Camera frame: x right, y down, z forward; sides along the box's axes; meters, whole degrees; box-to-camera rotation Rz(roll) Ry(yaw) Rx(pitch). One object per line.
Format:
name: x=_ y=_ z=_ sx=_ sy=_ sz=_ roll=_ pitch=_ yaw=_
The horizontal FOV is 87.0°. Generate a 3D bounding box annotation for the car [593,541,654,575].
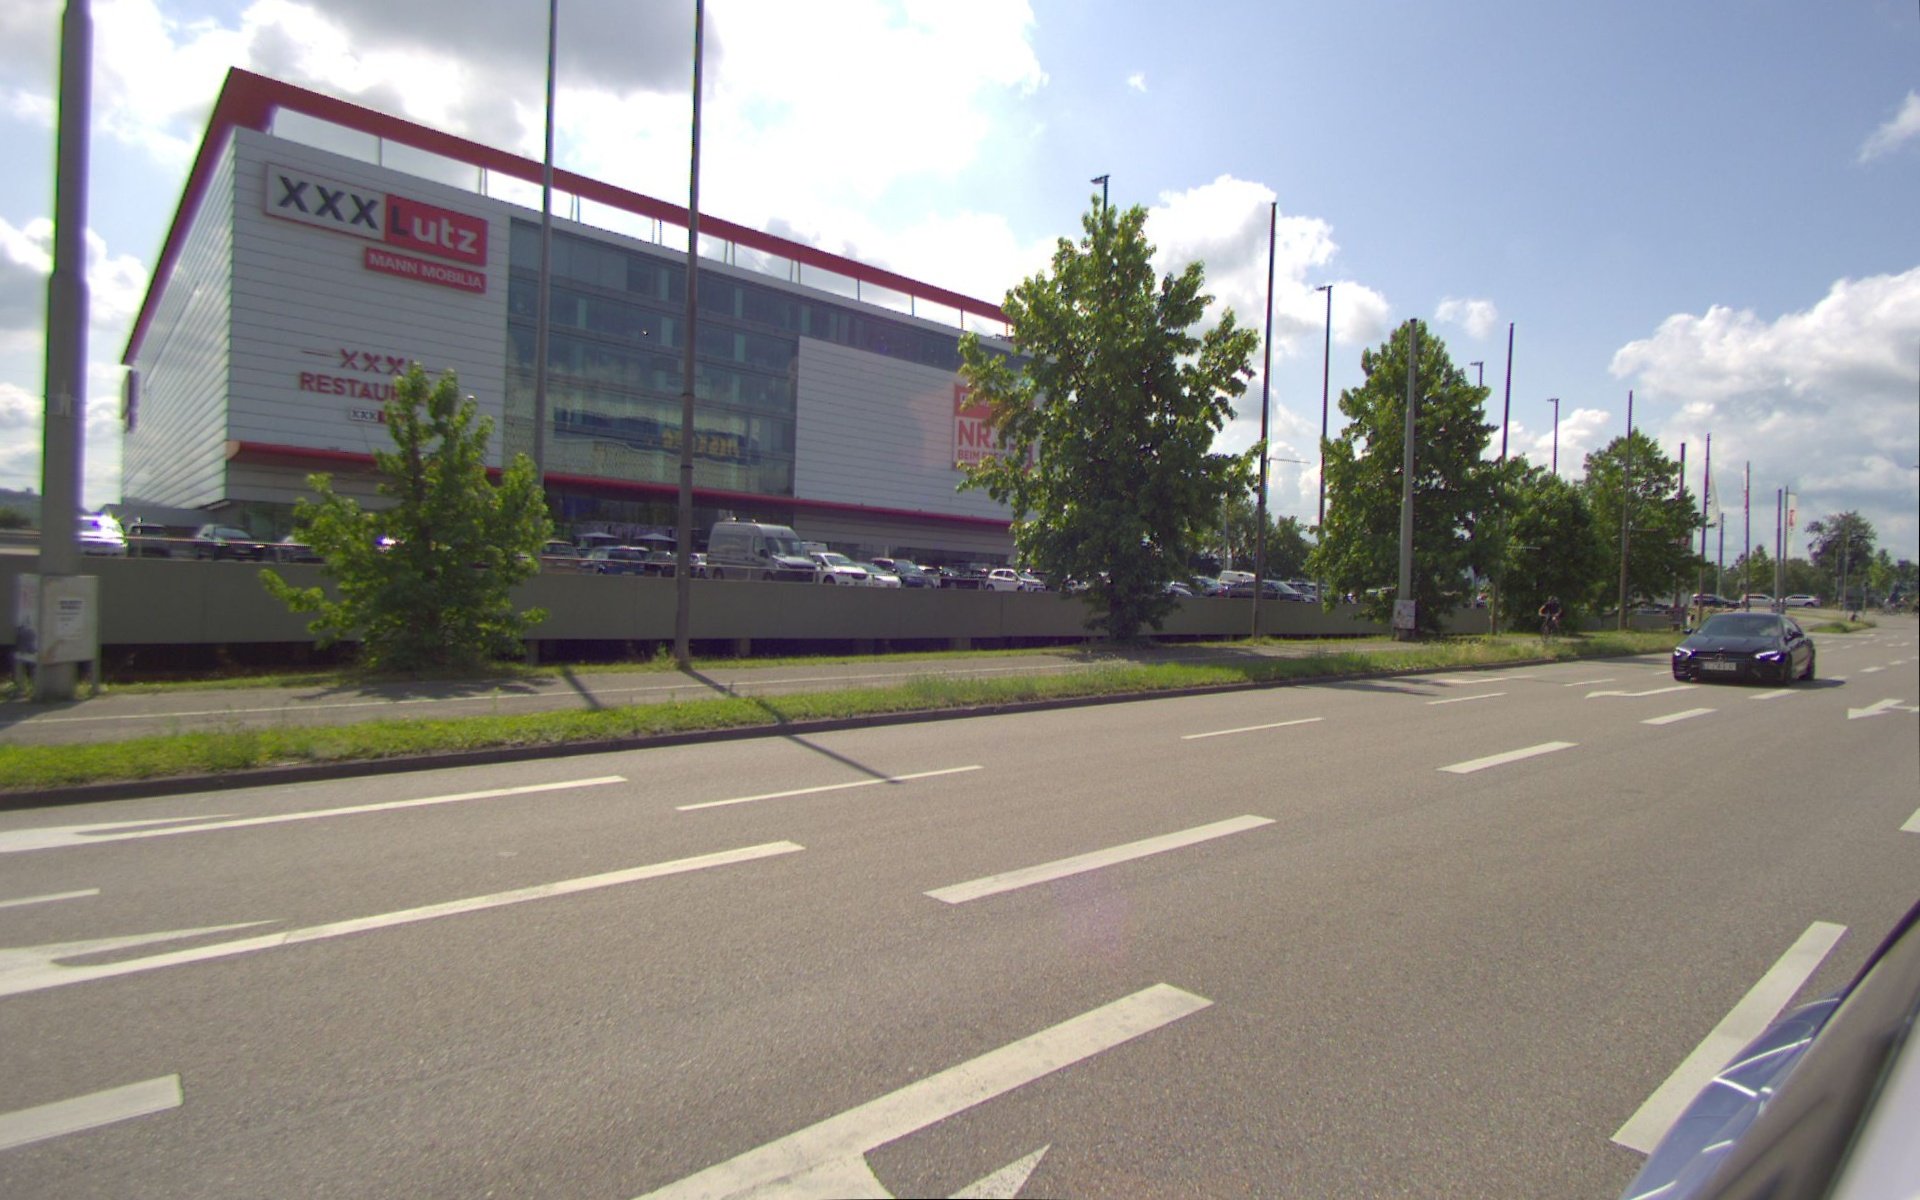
car: x=-18.284 y=-2.259 z=54.908 sx=1.719 sy=1.727 sz=3.746 roll=2 pitch=0 yaw=-42

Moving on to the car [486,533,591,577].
car: x=-15.597 y=-1.615 z=37.314 sx=1.954 sy=1.472 sz=4.871 roll=0 pitch=1 yaw=-44

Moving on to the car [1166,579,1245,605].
car: x=14.086 y=-0.475 z=58.288 sx=1.659 sy=1.341 sz=4.190 roll=1 pitch=2 yaw=-42

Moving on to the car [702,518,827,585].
car: x=-7.673 y=-1.814 z=39.275 sx=2.028 sy=2.396 sz=5.663 roll=0 pitch=1 yaw=-44

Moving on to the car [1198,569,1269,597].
car: x=32.941 y=-2.126 z=122.165 sx=3.066 sy=3.193 sz=7.898 roll=0 pitch=2 yaw=-39

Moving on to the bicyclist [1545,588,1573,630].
bicyclist: x=20.489 y=0.304 z=34.621 sx=0.702 sy=1.430 sz=0.616 roll=2 pitch=0 yaw=-42

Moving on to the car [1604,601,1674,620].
car: x=55.118 y=0.825 z=82.193 sx=1.824 sy=1.495 sz=4.366 roll=0 pitch=0 yaw=-41

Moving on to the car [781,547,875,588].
car: x=-5.342 y=-1.273 z=40.586 sx=1.718 sy=1.533 sz=3.990 roll=0 pitch=1 yaw=-44

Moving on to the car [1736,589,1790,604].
car: x=85.866 y=-0.350 z=108.227 sx=4.479 sy=1.430 sz=1.984 roll=3 pitch=2 yaw=41

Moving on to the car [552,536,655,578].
car: x=-13.882 y=-1.628 z=39.269 sx=1.954 sy=1.502 sz=4.871 roll=0 pitch=1 yaw=-44

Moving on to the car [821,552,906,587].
car: x=-4.505 y=-1.444 z=46.820 sx=1.697 sy=1.452 sz=4.190 roll=2 pitch=2 yaw=-43

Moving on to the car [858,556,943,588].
car: x=-2.927 y=-1.354 z=49.086 sx=1.861 sy=1.452 sz=4.188 roll=2 pitch=0 yaw=-43

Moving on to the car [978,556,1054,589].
car: x=3.080 y=-1.500 z=56.429 sx=1.965 sy=1.742 sz=3.993 roll=2 pitch=0 yaw=-42

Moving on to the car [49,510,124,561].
car: x=-31.310 y=-2.264 z=36.236 sx=3.896 sy=1.595 sz=1.609 roll=1 pitch=0 yaw=43

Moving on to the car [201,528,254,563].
car: x=-32.802 y=-2.412 z=45.291 sx=1.558 sy=1.428 sz=3.530 roll=0 pitch=0 yaw=-42

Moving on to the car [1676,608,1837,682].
car: x=16.232 y=0.849 z=20.553 sx=4.089 sy=1.335 sz=1.796 roll=1 pitch=0 yaw=-40

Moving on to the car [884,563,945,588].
car: x=-2.853 y=-1.495 z=62.531 sx=1.601 sy=1.438 sz=3.992 roll=2 pitch=0 yaw=-42

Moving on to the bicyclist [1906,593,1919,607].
bicyclist: x=90.572 y=-0.012 z=96.266 sx=0.676 sy=1.342 sz=0.591 roll=1 pitch=-1 yaw=7

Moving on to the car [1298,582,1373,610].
car: x=24.285 y=-0.251 z=65.514 sx=1.735 sy=1.571 sz=4.187 roll=2 pitch=2 yaw=-44

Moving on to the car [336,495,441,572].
car: x=-19.078 y=-2.117 z=33.672 sx=1.953 sy=2.223 sz=5.166 roll=0 pitch=0 yaw=-43

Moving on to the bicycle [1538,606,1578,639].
bicycle: x=20.474 y=0.766 z=34.621 sx=1.934 sy=1.081 sz=0.624 roll=1 pitch=1 yaw=-43

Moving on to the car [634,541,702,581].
car: x=-14.700 y=-1.914 z=50.916 sx=1.744 sy=1.861 sz=3.890 roll=2 pitch=0 yaw=-42

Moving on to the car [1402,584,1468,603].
car: x=37.094 y=-0.519 z=79.109 sx=1.814 sy=1.379 sz=4.367 roll=0 pitch=1 yaw=-40

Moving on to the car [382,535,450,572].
car: x=-25.844 y=-2.172 z=48.016 sx=1.965 sy=1.563 sz=3.993 roll=2 pitch=0 yaw=-41

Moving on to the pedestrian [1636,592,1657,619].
pedestrian: x=46.955 y=0.391 z=69.233 sx=0.855 sy=1.805 sz=0.784 roll=1 pitch=-1 yaw=-2

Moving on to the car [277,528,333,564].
car: x=-29.112 y=-2.374 z=44.964 sx=1.557 sy=1.428 sz=3.531 roll=2 pitch=0 yaw=-42

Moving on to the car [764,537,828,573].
car: x=-9.971 y=-2.694 z=61.509 sx=1.966 sy=1.976 sz=3.992 roll=2 pitch=0 yaw=-42

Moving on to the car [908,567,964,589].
car: x=-1.680 y=-1.507 z=70.109 sx=1.601 sy=1.438 sz=3.992 roll=2 pitch=0 yaw=-42

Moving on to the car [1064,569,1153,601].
car: x=7.501 y=-0.765 z=51.323 sx=4.186 sy=1.406 sz=1.862 roll=4 pitch=2 yaw=45

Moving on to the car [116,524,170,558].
car: x=-39.671 y=-2.833 z=49.121 sx=1.680 sy=1.438 sz=3.900 roll=2 pitch=0 yaw=-44

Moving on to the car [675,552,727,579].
car: x=-14.822 y=-1.972 z=57.883 sx=1.523 sy=1.455 sz=3.389 roll=2 pitch=0 yaw=-40

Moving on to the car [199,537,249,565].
car: x=-36.611 y=-2.401 z=50.318 sx=1.665 sy=1.199 sz=3.903 roll=2 pitch=0 yaw=-41

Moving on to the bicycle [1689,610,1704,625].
bicycle: x=48.620 y=1.162 z=66.803 sx=1.518 sy=0.964 sz=0.517 roll=0 pitch=1 yaw=-43

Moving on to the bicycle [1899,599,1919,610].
bicycle: x=90.654 y=0.406 z=96.249 sx=1.954 sy=0.973 sz=0.595 roll=1 pitch=0 yaw=8
